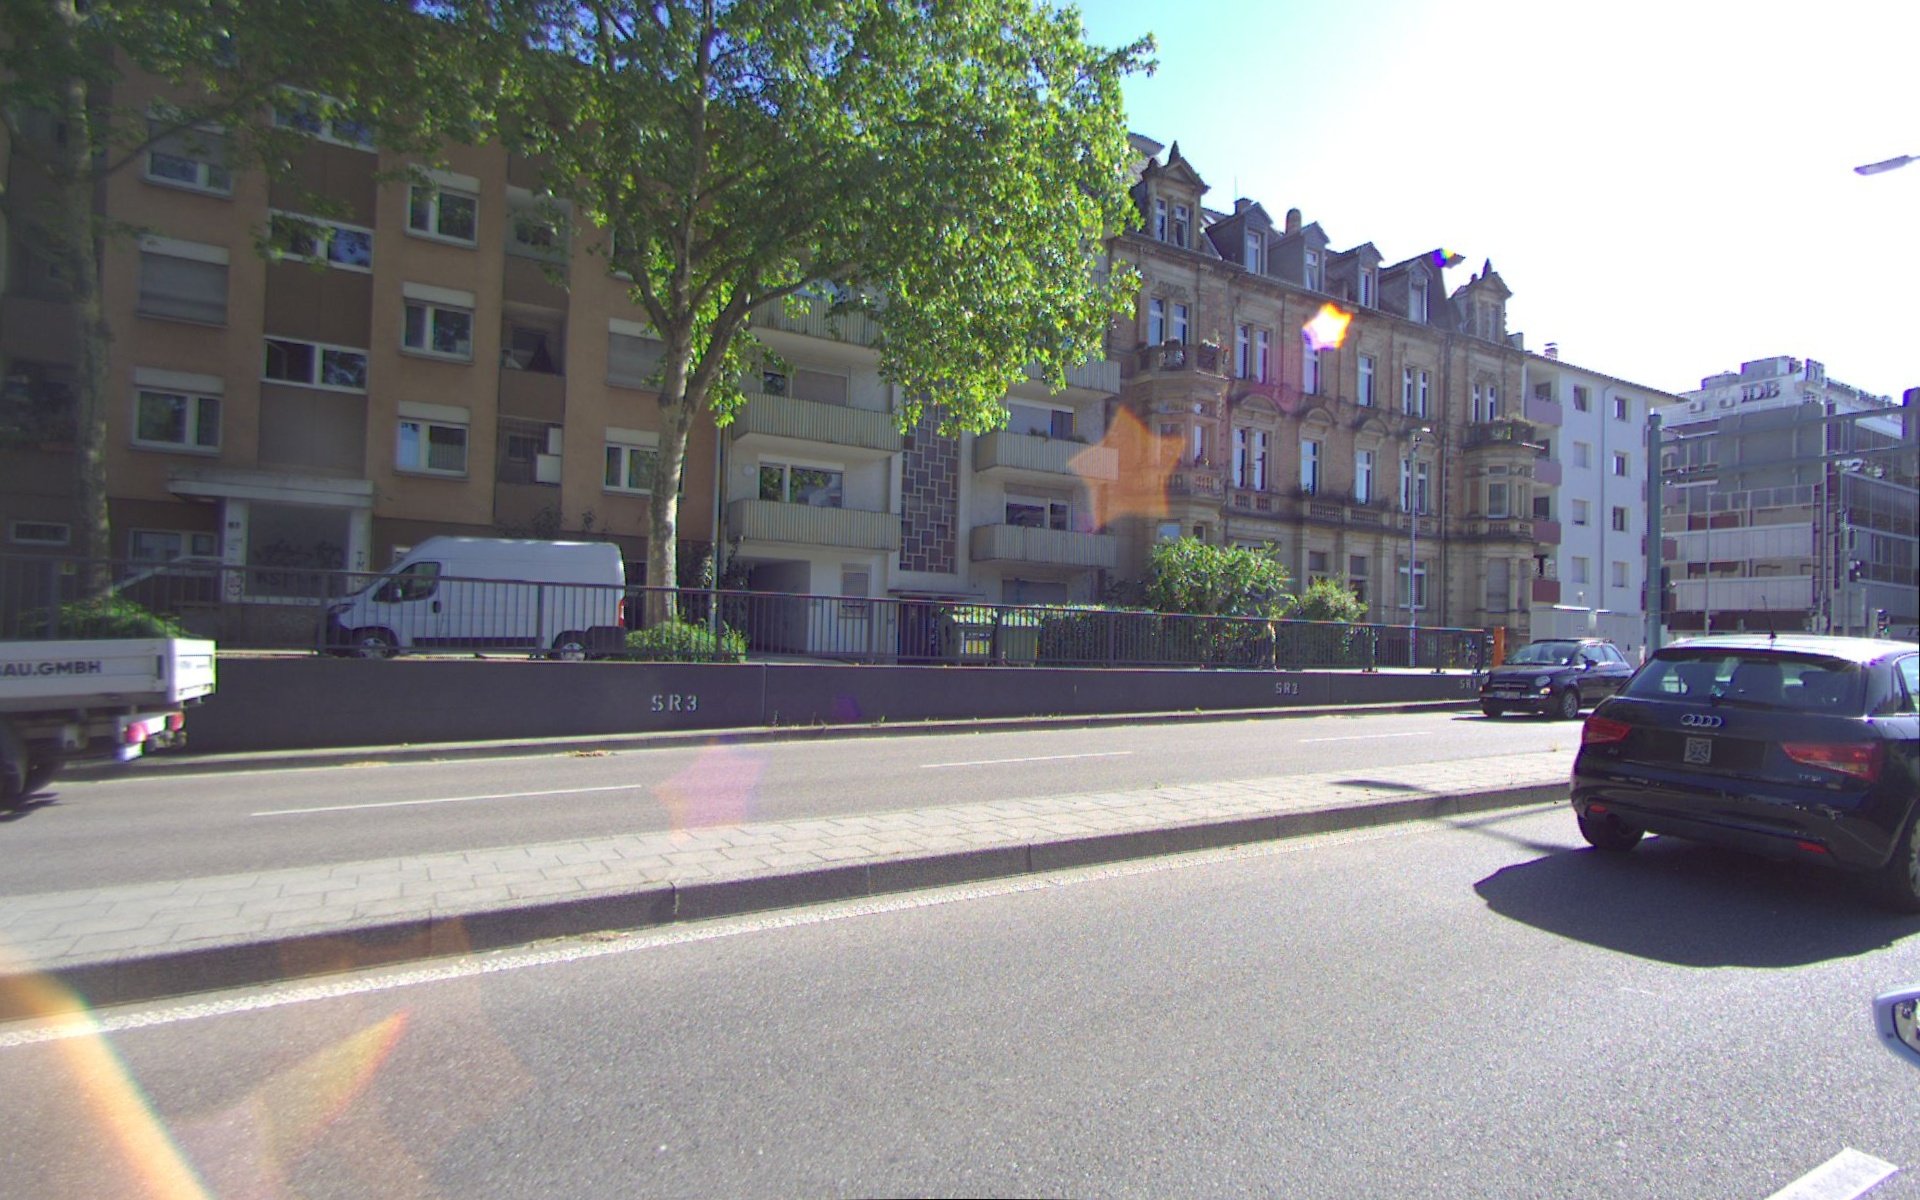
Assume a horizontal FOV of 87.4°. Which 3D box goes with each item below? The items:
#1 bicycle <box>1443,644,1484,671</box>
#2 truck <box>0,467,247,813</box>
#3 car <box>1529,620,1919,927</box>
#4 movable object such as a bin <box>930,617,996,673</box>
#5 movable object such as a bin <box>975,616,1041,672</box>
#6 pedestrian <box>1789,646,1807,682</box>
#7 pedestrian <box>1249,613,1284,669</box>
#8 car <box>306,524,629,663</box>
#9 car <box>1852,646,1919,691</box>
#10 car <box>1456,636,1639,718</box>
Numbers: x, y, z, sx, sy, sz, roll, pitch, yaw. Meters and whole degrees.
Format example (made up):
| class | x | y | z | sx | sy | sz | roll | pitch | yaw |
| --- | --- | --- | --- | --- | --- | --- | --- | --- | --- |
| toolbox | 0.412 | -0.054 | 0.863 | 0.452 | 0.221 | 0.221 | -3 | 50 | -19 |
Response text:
| class | x | y | z | sx | sy | sz | roll | pitch | yaw |
| --- | --- | --- | --- | --- | --- | --- | --- | --- | --- |
| bicycle | 21.335 | 2.434 | 42.534 | 1.951 | 1.119 | 0.584 | 2 | 0 | -31 |
| truck | -9.198 | 0.318 | 7.510 | 6.055 | 2.561 | 2.219 | 1 | -2 | -30 |
| car | 5.661 | 0.912 | 6.583 | 3.844 | 1.437 | 1.687 | 2 | 0 | -31 |
| movable object such as a bin | 0.067 | 1.185 | 26.810 | 1.286 | 1.421 | 1.273 | 2 | 0 | -30 |
| movable object such as a bin | 1.300 | 1.193 | 27.378 | 1.309 | 1.421 | 1.273 | 2 | 0 | -30 |
| pedestrian | 46.391 | 3.529 | 55.612 | 0.718 | 1.921 | 0.652 | 2 | 0 | -43 |
| pedestrian | 9.778 | 1.309 | 32.073 | 0.824 | 1.729 | 0.633 | 2 | 0 | -30 |
| car | -9.464 | -0.040 | 19.636 | 5.354 | 2.391 | 1.984 | 2 | 0 | -30 |
| car | 36.960 | 2.667 | 39.004 | 3.866 | 1.575 | 1.932 | 2 | 0 | -22 |
| car | 11.444 | 1.473 | 19.537 | 3.456 | 1.464 | 1.584 | 2 | -4 | -31 |
